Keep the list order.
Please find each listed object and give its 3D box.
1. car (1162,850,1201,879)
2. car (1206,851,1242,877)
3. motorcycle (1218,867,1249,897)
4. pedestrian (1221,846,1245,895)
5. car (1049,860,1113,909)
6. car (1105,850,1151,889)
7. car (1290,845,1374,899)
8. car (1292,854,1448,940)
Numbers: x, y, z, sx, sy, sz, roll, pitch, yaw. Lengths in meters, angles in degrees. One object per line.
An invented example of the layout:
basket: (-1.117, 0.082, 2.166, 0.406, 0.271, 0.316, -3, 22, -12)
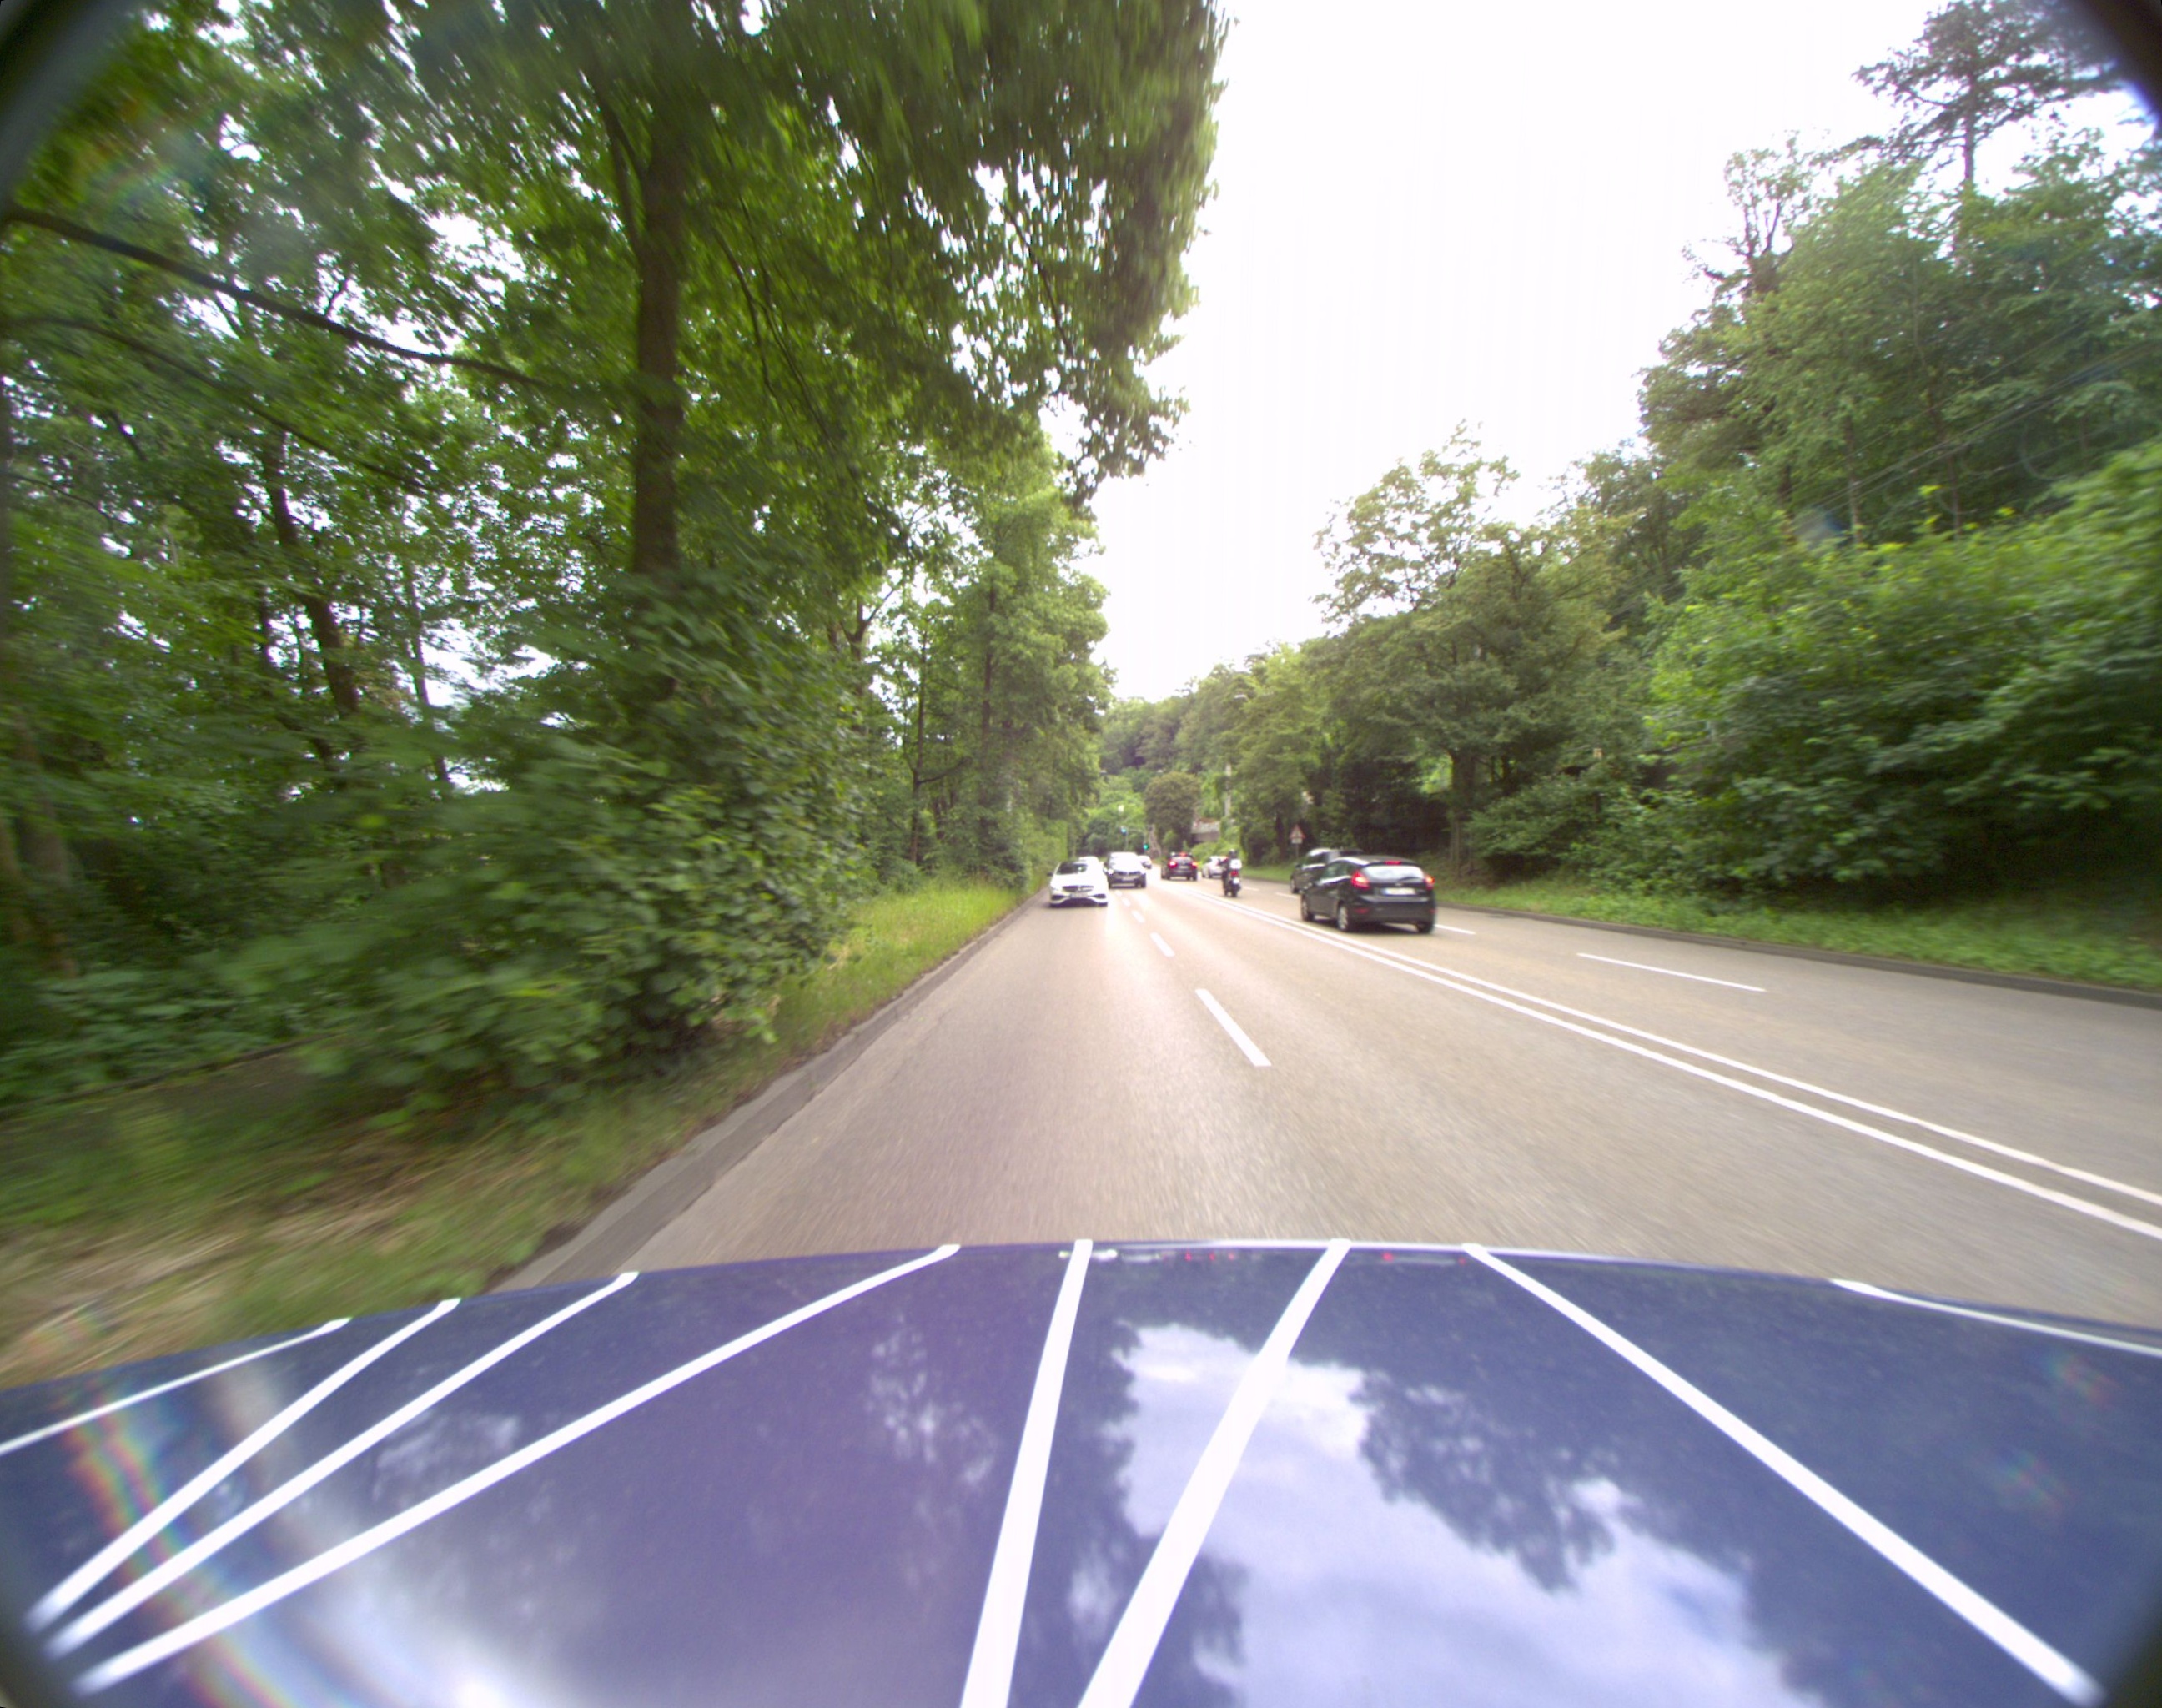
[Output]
car: (5.979, 0.600, 45.715, 1.802, 1.543, 3.999, -2, 1, 1)
car: (9.269, 0.609, 49.527, 1.572, 1.543, 3.999, -2, 1, 1)
motorcycle: (5.320, 0.963, 26.670, 0.701, 0.993, 2.025, 0, 0, 1)
pedestrian: (5.324, 0.577, 26.657, 0.664, 1.678, 0.830, 1, 1, 1)
car: (0.020, 0.919, 24.355, 1.846, 1.287, 3.999, -2, 1, 1)
car: (2.126, 0.676, 35.505, 1.871, 1.653, 4.192, 1, 1, 0)
car: (8.948, 0.585, 27.452, 1.662, 1.762, 4.135, 1, 1, 1)
car: (5.663, 0.760, 15.433, 1.690, 1.453, 3.999, -1, 1, 1)
